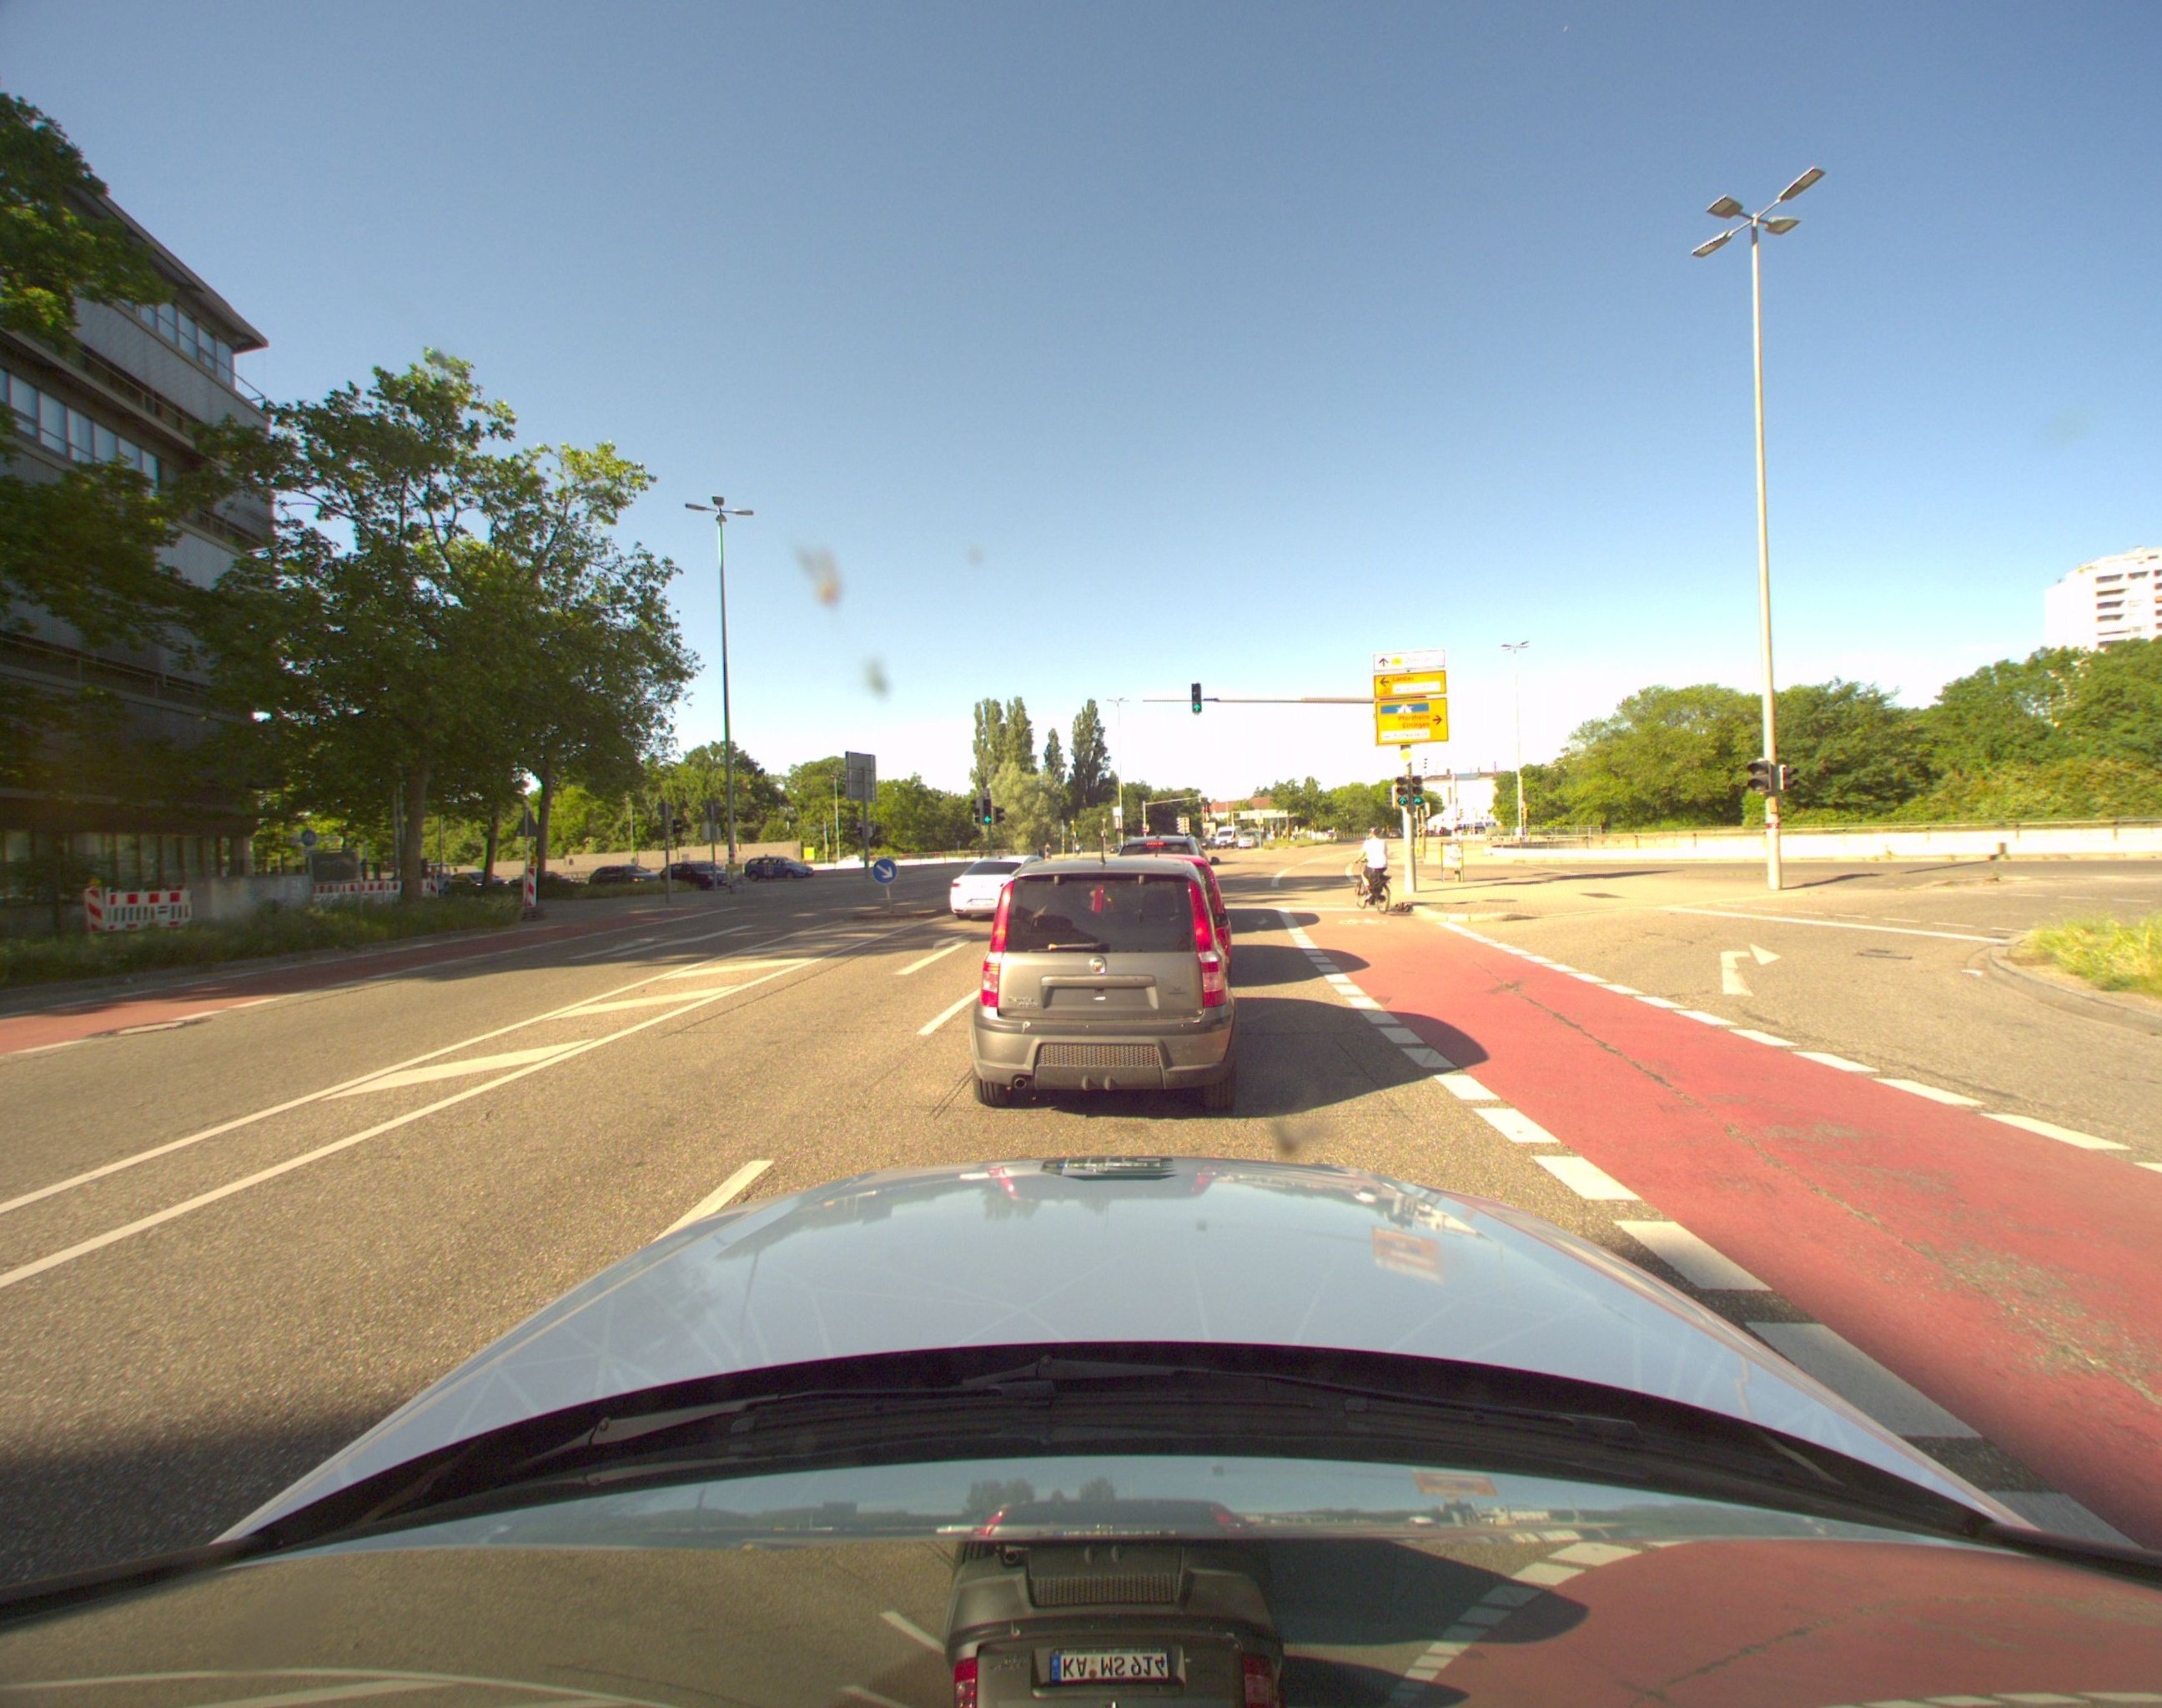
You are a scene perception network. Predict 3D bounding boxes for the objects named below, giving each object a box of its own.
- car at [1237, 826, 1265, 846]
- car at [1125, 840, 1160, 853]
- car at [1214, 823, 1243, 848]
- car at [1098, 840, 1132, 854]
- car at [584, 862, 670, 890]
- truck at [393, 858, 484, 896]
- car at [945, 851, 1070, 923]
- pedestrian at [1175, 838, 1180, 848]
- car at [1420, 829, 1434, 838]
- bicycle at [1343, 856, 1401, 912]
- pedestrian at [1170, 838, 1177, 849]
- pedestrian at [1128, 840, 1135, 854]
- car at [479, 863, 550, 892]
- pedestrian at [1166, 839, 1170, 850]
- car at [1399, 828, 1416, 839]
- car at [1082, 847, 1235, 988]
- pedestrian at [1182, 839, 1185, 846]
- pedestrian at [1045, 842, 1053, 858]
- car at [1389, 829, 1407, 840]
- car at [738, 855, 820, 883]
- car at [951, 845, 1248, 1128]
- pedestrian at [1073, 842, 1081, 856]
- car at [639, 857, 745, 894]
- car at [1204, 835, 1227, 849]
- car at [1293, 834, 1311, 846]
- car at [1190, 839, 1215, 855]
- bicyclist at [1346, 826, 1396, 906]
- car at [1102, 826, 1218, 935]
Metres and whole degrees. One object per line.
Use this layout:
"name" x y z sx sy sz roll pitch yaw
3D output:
"car" 18.081 -1.943 86.549 1.920 2.008 4.959 -2 1 22
"car" 7.677 -0.952 101.963 4.351 1.535 1.764 -3 2 -39
"car" 16.463 -2.098 90.580 1.920 2.576 6.122 -2 1 22
"car" 4.376 -0.887 104.262 4.018 1.625 1.880 0 -1 -37
"car" -24.921 1.210 44.695 4.452 1.358 1.892 -2 1 27
"truck" -43.349 1.547 54.848 7.418 2.359 2.178 -2 1 30
"car" -1.590 0.686 19.262 1.769 1.415 4.333 -1 1 11
"pedestrian" 15.228 -1.765 128.522 0.713 1.641 0.676 -1 -1 27
"car" 66.478 -3.931 156.315 1.926 1.528 4.123 -2 1 30
"bicycle" 6.283 0.625 17.676 0.688 1.102 1.828 -1 1 3
"pedestrian" 14.068 -1.639 124.150 0.782 1.664 0.633 -1 -1 42
"pedestrian" 5.771 -0.811 92.634 0.557 1.547 0.573 -3 -1 -14
"car" -35.576 1.497 51.091 4.451 1.644 1.892 -2 1 30
"pedestrian" 13.304 -1.450 124.736 0.494 1.701 0.503 -1 -1 26
"car" 52.680 -3.316 131.332 1.926 1.528 4.123 -2 1 30
"car" 1.078 0.685 10.773 1.609 1.463 3.759 -2 1 7
"pedestrian" 16.127 -1.775 128.409 0.419 1.136 0.400 -1 -1 27
"pedestrian" -2.954 -0.366 75.159 0.678 1.463 0.702 -2 1 -4
"car" 48.862 -3.033 125.455 1.926 1.528 4.123 -2 1 30
"car" -18.897 0.958 50.936 4.410 1.540 1.960 -2 1 15
"car" 0.329 0.735 6.442 1.609 1.515 3.828 -2 1 7
"pedestrian" -0.440 -0.614 96.064 0.710 1.547 0.725 -3 -1 -14
"car" -19.657 1.083 41.183 4.731 1.621 1.961 -2 1 18
"car" 16.229 -1.478 98.179 1.795 1.541 4.641 -3 1 21
"car" 32.556 -2.086 119.856 1.920 1.622 4.530 -2 1 22
"car" 13.726 -0.790 91.630 1.920 1.507 4.020 -3 1 19
"bicyclist" 6.278 0.242 17.664 0.721 1.659 1.114 -1 1 3
"car" 1.715 0.425 16.261 1.933 1.840 4.165 -2 1 10
